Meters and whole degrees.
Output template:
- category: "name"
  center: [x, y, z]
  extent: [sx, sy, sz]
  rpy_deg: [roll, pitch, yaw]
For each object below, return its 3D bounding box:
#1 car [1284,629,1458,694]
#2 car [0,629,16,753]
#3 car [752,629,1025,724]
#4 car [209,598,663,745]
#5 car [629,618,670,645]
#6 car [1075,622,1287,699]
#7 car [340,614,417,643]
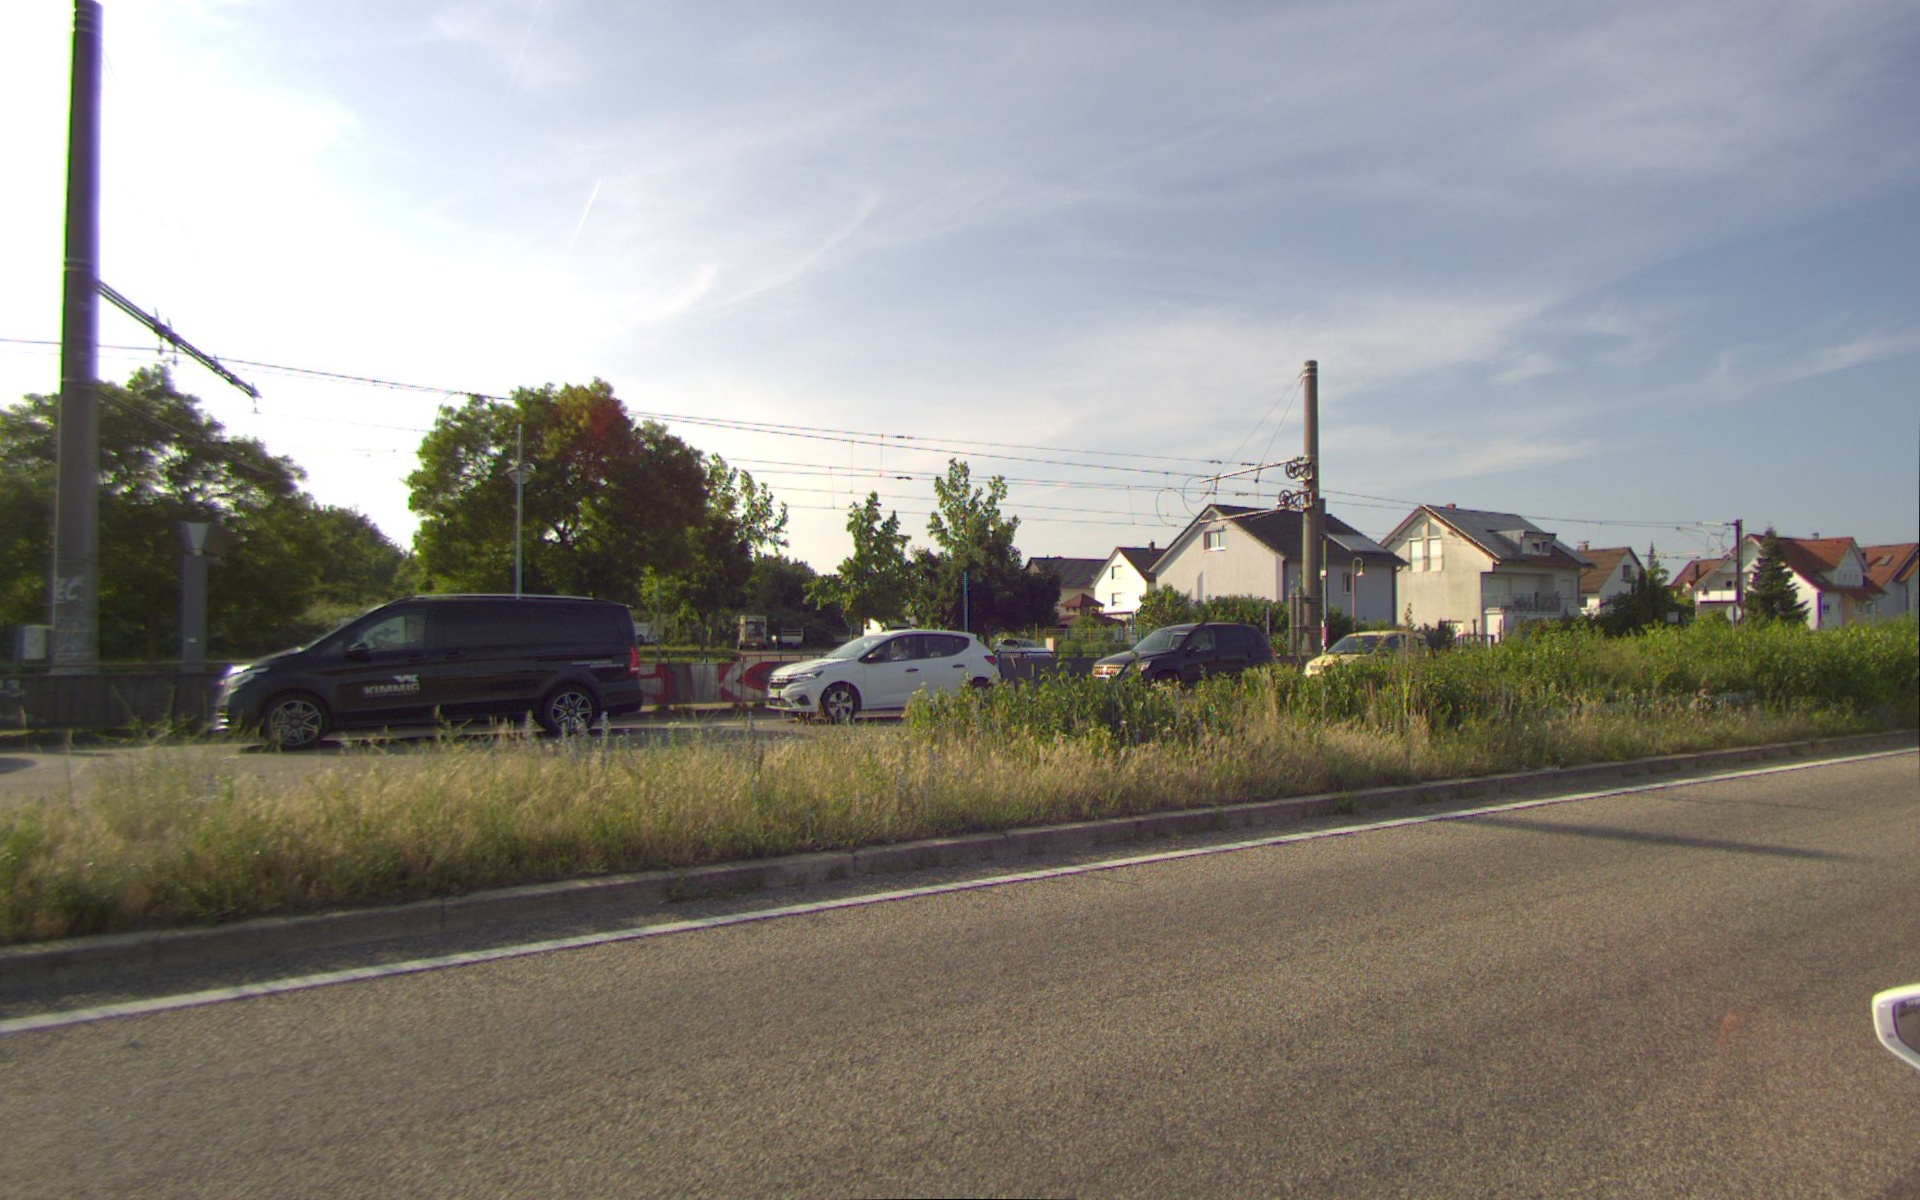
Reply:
- category: "car"
  center: [9.969, 1.459, 24.282]
  extent: [4.276, 1.450, 1.653]
  rpy_deg: [1, -3, -31]
- category: "car"
  center: [-12.884, 1.020, 10.545]
  extent: [4.009, 1.450, 1.653]
  rpy_deg: [1, -3, -30]
- category: "car"
  center: [-1.174, 1.251, 17.190]
  extent: [4.396, 1.450, 1.653]
  rpy_deg: [1, -3, -31]
- category: "car"
  center: [-6.941, 0.928, 13.822]
  extent: [5.192, 1.705, 1.906]
  rpy_deg: [1, -3, -31]
- category: "car"
  center: [-22.295, 2.250, 72.277]
  extent: [1.537, 1.819, 3.116]
  rpy_deg: [1, 0, 9]
- category: "car"
  center: [4.568, 1.212, 20.635]
  extent: [4.276, 1.450, 1.653]
  rpy_deg: [1, -3, -31]
- category: "car"
  center: [-31.106, 1.562, 53.810]
  extent: [1.700, 1.384, 3.626]
  rpy_deg: [-1, -4, 7]
